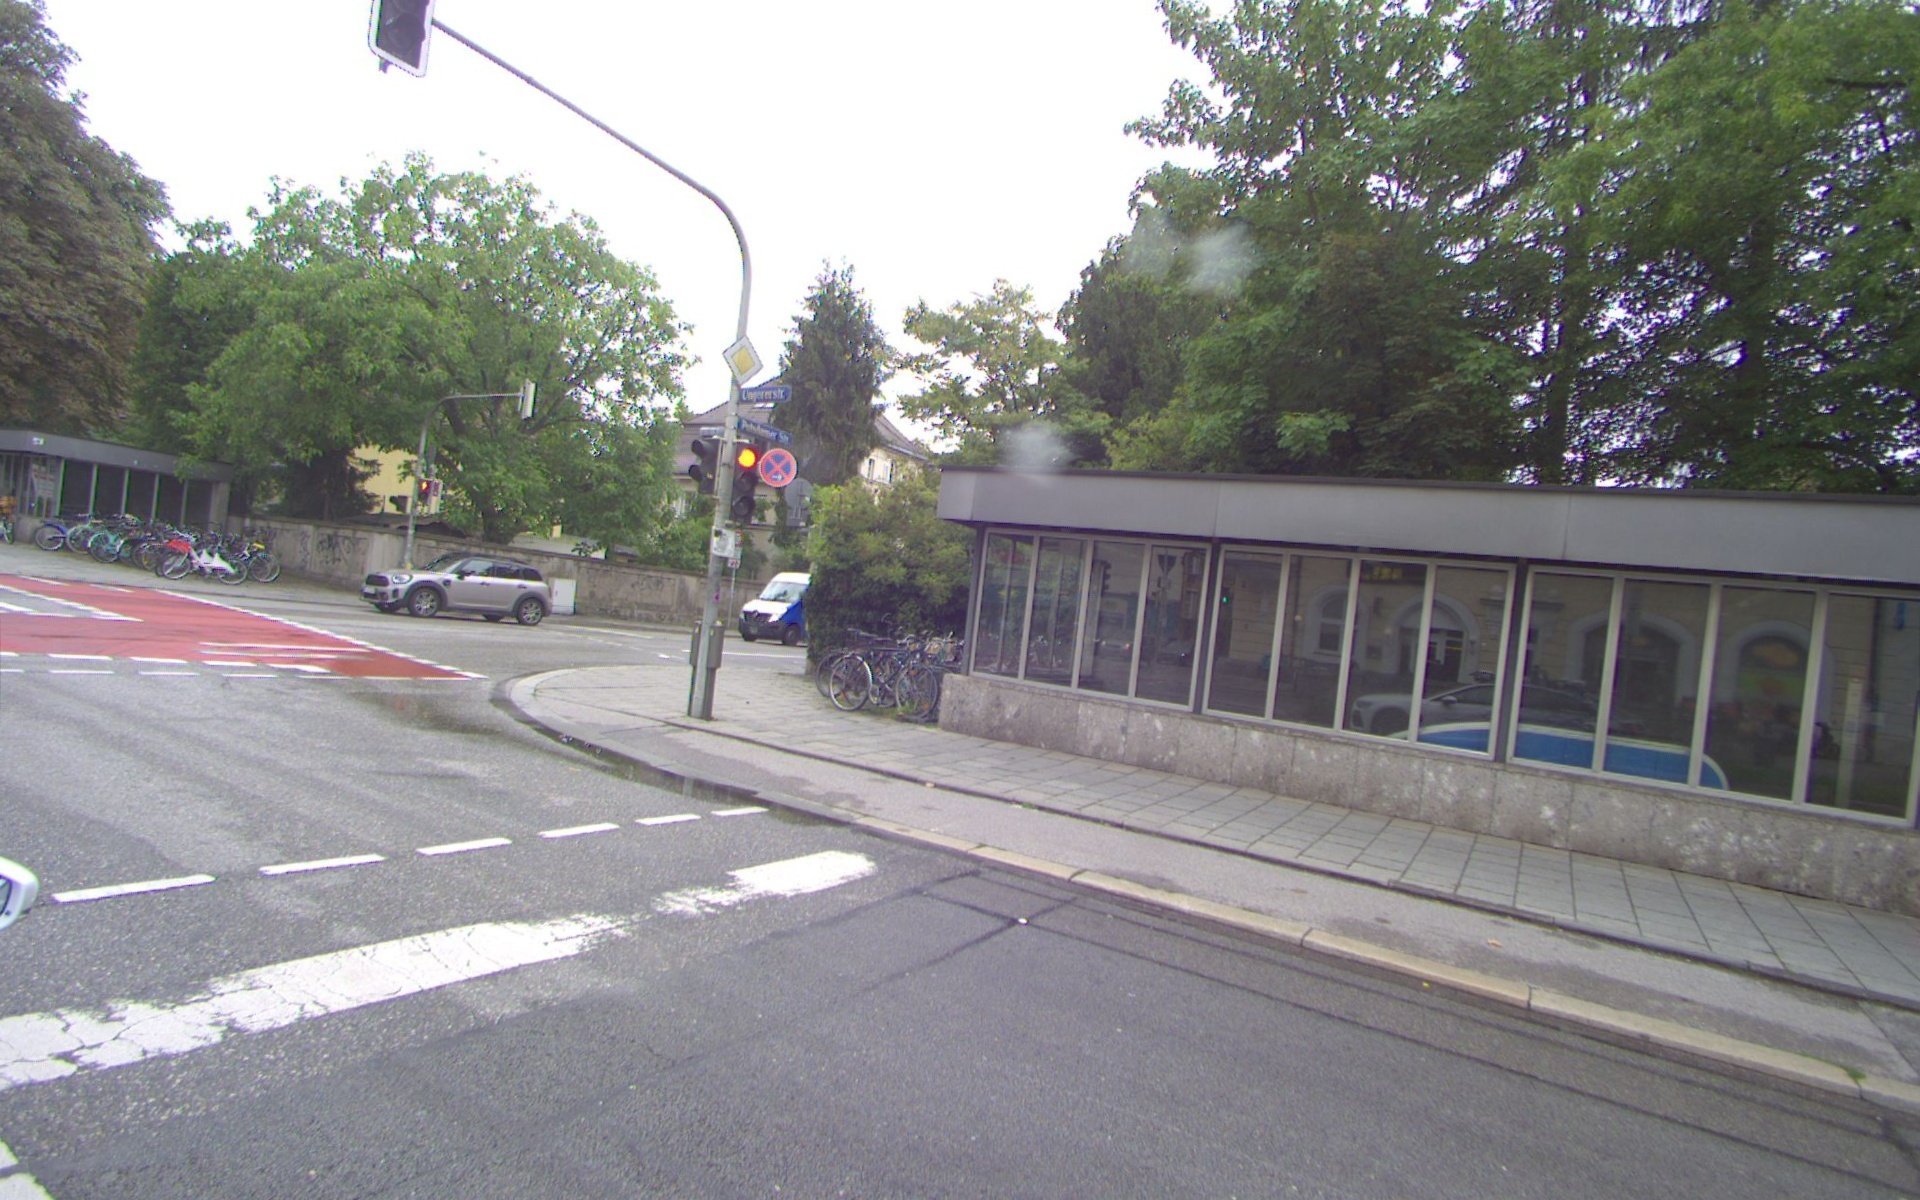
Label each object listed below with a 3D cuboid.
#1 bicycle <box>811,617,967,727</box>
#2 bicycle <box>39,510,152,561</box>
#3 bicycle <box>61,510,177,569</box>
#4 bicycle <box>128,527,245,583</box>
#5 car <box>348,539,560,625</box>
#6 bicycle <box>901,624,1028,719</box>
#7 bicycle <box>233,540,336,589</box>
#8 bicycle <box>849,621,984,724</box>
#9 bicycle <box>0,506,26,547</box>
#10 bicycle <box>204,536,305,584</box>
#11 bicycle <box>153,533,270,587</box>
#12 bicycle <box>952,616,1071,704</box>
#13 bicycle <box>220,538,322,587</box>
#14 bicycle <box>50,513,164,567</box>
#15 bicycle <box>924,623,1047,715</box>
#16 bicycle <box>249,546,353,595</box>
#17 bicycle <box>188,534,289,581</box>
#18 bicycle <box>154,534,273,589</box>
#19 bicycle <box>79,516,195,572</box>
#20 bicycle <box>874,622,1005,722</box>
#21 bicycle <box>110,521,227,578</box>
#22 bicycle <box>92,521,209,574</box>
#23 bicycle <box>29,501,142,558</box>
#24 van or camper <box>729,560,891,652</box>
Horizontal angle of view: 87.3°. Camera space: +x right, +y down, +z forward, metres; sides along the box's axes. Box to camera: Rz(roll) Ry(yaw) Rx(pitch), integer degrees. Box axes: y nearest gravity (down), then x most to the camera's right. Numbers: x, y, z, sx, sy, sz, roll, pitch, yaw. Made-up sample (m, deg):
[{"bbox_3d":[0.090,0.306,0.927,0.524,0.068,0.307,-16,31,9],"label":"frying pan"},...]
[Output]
[{"bbox_3d":[-0.912,0.890,12.704,1.858,1.135,0.600,6,0,32],"label":"bicycle"},{"bbox_3d":[-22.993,-1.695,26.789,0.594,1.026,2.141,7,0,39],"label":"bicycle"},{"bbox_3d":[-21.675,-1.544,25.975,0.594,1.192,2.141,7,0,39],"label":"bicycle"},{"bbox_3d":[-19.105,-1.089,24.890,0.594,1.084,2.141,7,0,39],"label":"bicycle"},{"bbox_3d":[-11.983,-0.379,24.105,1.668,1.532,4.173,7,-1,33],"label":"car"},{"bbox_3d":[0.045,1.000,14.321,1.707,1.135,0.469,6,0,32],"label":"bicycle"},{"bbox_3d":[-18.132,-0.938,27.063,0.625,1.026,2.141,7,-1,39],"label":"bicycle"},{"bbox_3d":[-0.589,0.937,13.274,1.707,1.135,0.469,6,0,32],"label":"bicycle"},{"bbox_3d":[-26.298,-2.060,27.443,1.981,1.027,0.557,7,0,30],"label":"bicycle"},{"bbox_3d":[-19.472,-1.088,27.802,0.625,1.026,2.141,7,-1,39],"label":"bicycle"},{"bbox_3d":[-18.324,-0.969,24.666,0.625,1.026,2.141,7,-1,39],"label":"bicycle"},{"bbox_3d":[0.772,0.913,15.482,1.707,1.135,0.469,6,0,32],"label":"bicycle"},{"bbox_3d":[-18.769,-1.006,27.463,0.625,1.026,2.141,7,-1,39],"label":"bicycle"},{"bbox_3d":[-22.282,-1.553,26.311,0.594,1.075,2.141,7,0,39],"label":"bicycle"},{"bbox_3d":[0.356,1.003,14.835,1.707,1.135,0.469,6,0,32],"label":"bicycle"},{"bbox_3d":[-17.454,-0.760,26.697,0.625,1.026,2.141,7,-1,39],"label":"bicycle"},{"bbox_3d":[-20.153,-1.166,28.161,0.625,1.026,2.141,7,-1,39],"label":"bicycle"},{"bbox_3d":[-17.908,-0.914,24.173,0.594,1.026,2.141,7,0,39],"label":"bicycle"},{"bbox_3d":[-20.999,-1.415,25.708,0.594,1.099,2.141,7,0,39],"label":"bicycle"},{"bbox_3d":[-0.293,0.968,13.772,1.707,1.135,0.469,6,0,32],"label":"bicycle"},{"bbox_3d":[-19.713,-1.234,25.109,0.594,1.114,2.141,7,0,39],"label":"bicycle"},{"bbox_3d":[-20.375,-1.307,25.366,0.594,1.026,2.141,7,0,39],"label":"bicycle"},{"bbox_3d":[-23.577,-1.884,27.158,0.594,1.233,2.141,7,0,39],"label":"bicycle"},{"bbox_3d":[-4.933,0.270,34.050,2.033,2.499,5.558,7,-1,33],"label":"van or camper"}]
